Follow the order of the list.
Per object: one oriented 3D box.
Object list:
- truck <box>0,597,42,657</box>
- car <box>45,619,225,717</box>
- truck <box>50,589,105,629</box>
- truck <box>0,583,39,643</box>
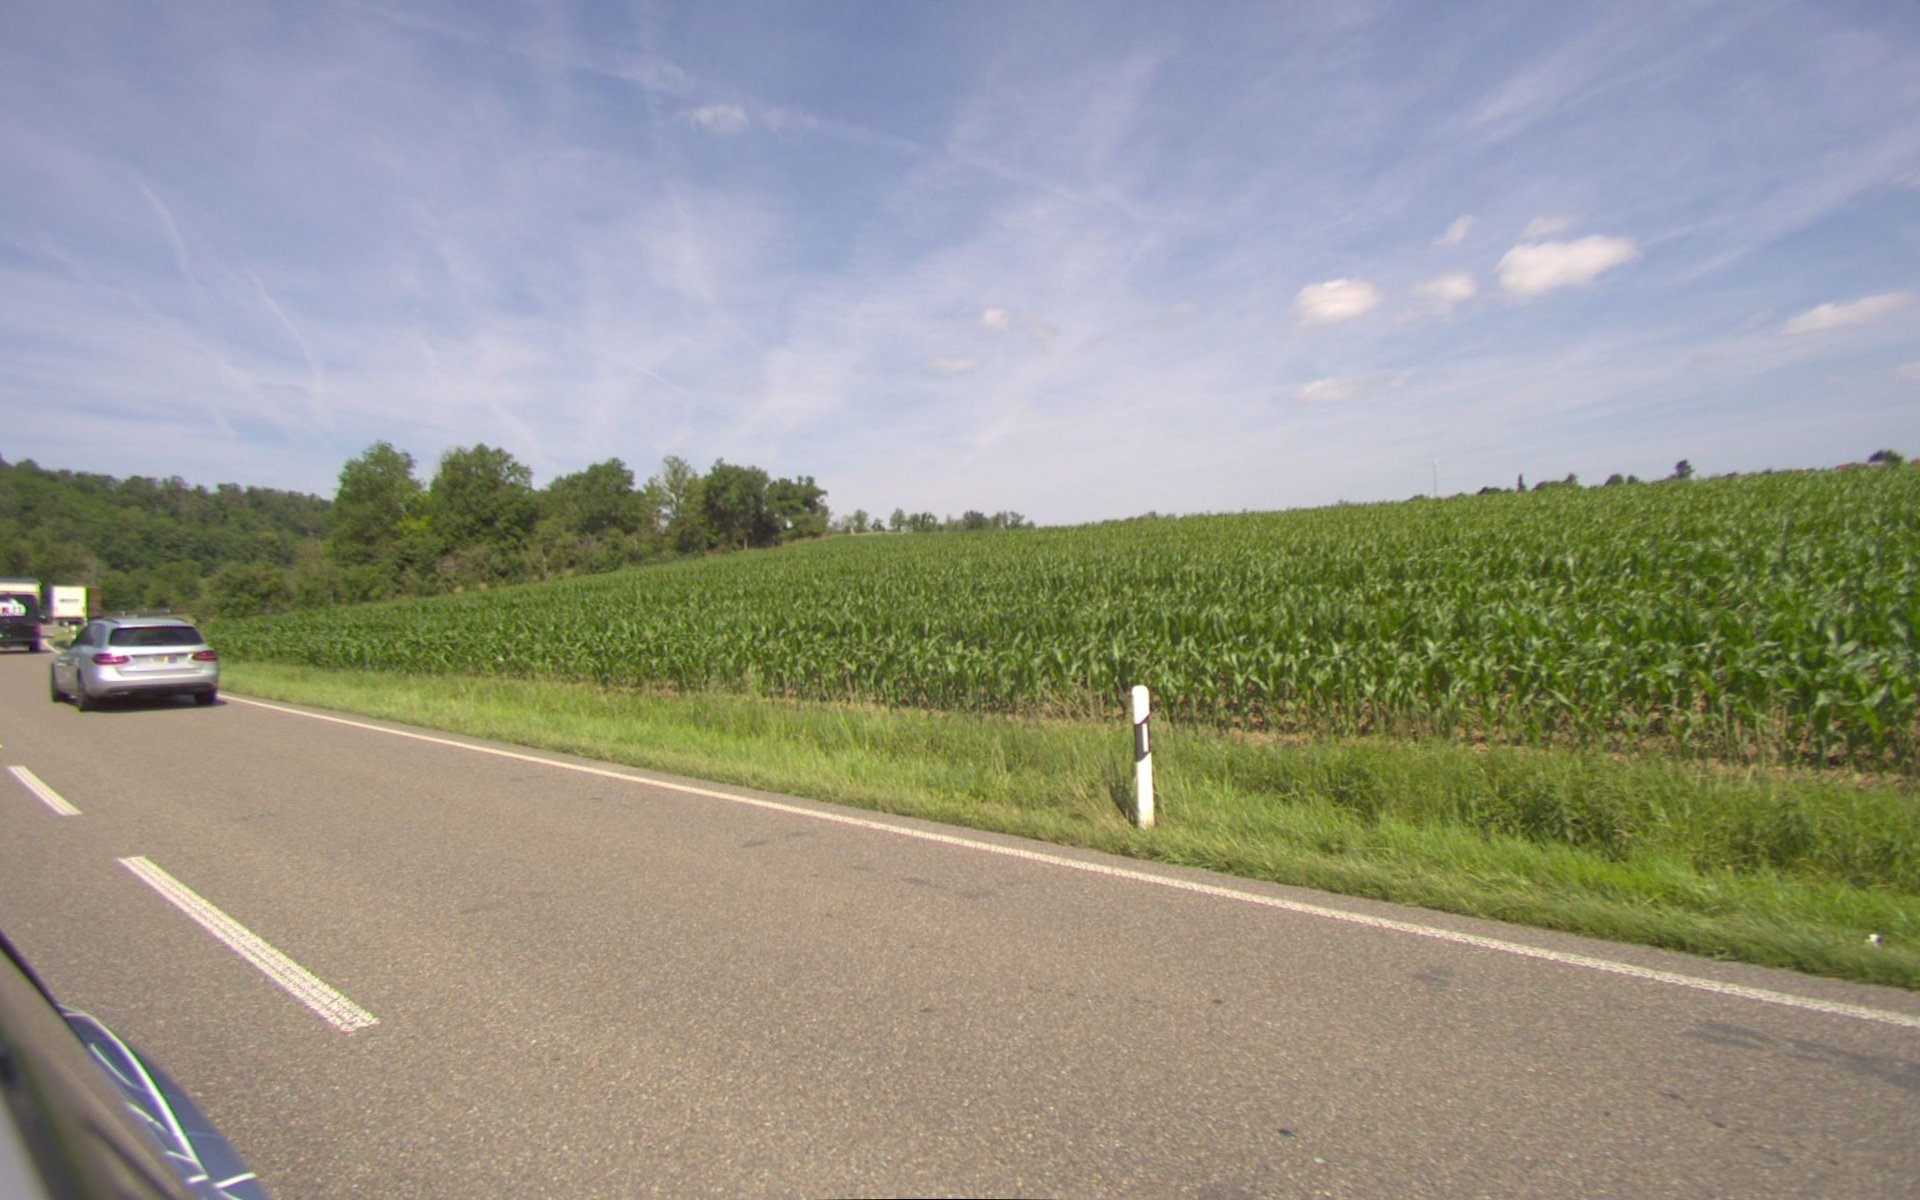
[{"bbox_3d":[-38.800,1.086,41.180,1.986,2.337,5.195,0,0,-44],"label":"truck"},{"bbox_3d":[-14.085,1.065,17.204,4.174,1.451,1.710,-1,-1,41],"label":"car"},{"bbox_3d":[-94.853,0.956,109.005,2.734,4.029,17.068,0,0,-36],"label":"truck"},{"bbox_3d":[-60.652,0.834,64.298,9.731,3.606,2.710,-1,0,45],"label":"truck"}]
